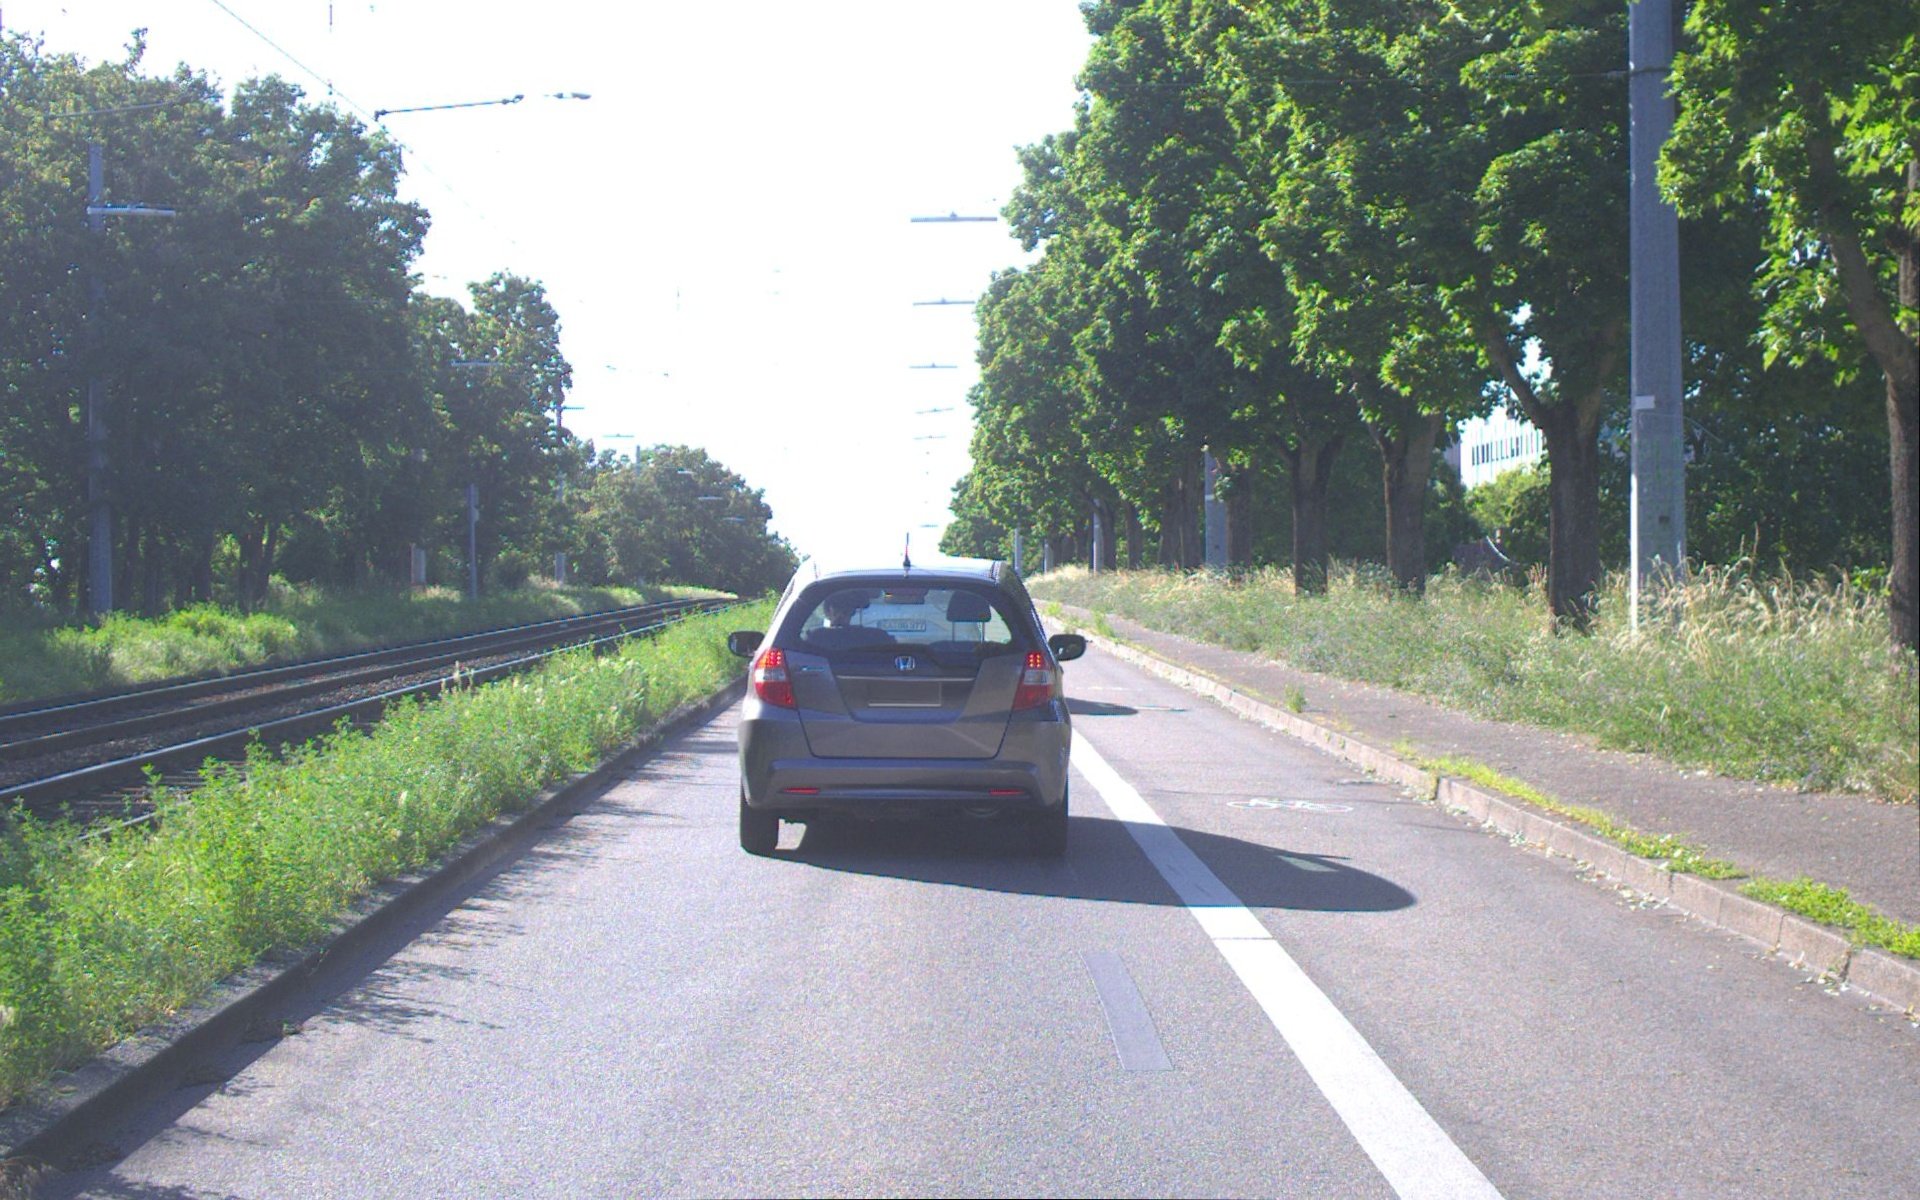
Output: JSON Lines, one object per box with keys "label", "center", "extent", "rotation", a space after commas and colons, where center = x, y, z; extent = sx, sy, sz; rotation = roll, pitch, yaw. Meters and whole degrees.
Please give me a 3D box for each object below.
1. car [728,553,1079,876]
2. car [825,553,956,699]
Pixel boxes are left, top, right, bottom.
{"label": "car", "center": [-0.329, 0.533, 18.517], "extent": [1.670, 1.510, 3.674], "rotation": [1, 1, -2]}
{"label": "car", "center": [-0.788, 0.291, 37.817], "extent": [1.351, 1.522, 3.123], "rotation": [-1, -1, -2]}
